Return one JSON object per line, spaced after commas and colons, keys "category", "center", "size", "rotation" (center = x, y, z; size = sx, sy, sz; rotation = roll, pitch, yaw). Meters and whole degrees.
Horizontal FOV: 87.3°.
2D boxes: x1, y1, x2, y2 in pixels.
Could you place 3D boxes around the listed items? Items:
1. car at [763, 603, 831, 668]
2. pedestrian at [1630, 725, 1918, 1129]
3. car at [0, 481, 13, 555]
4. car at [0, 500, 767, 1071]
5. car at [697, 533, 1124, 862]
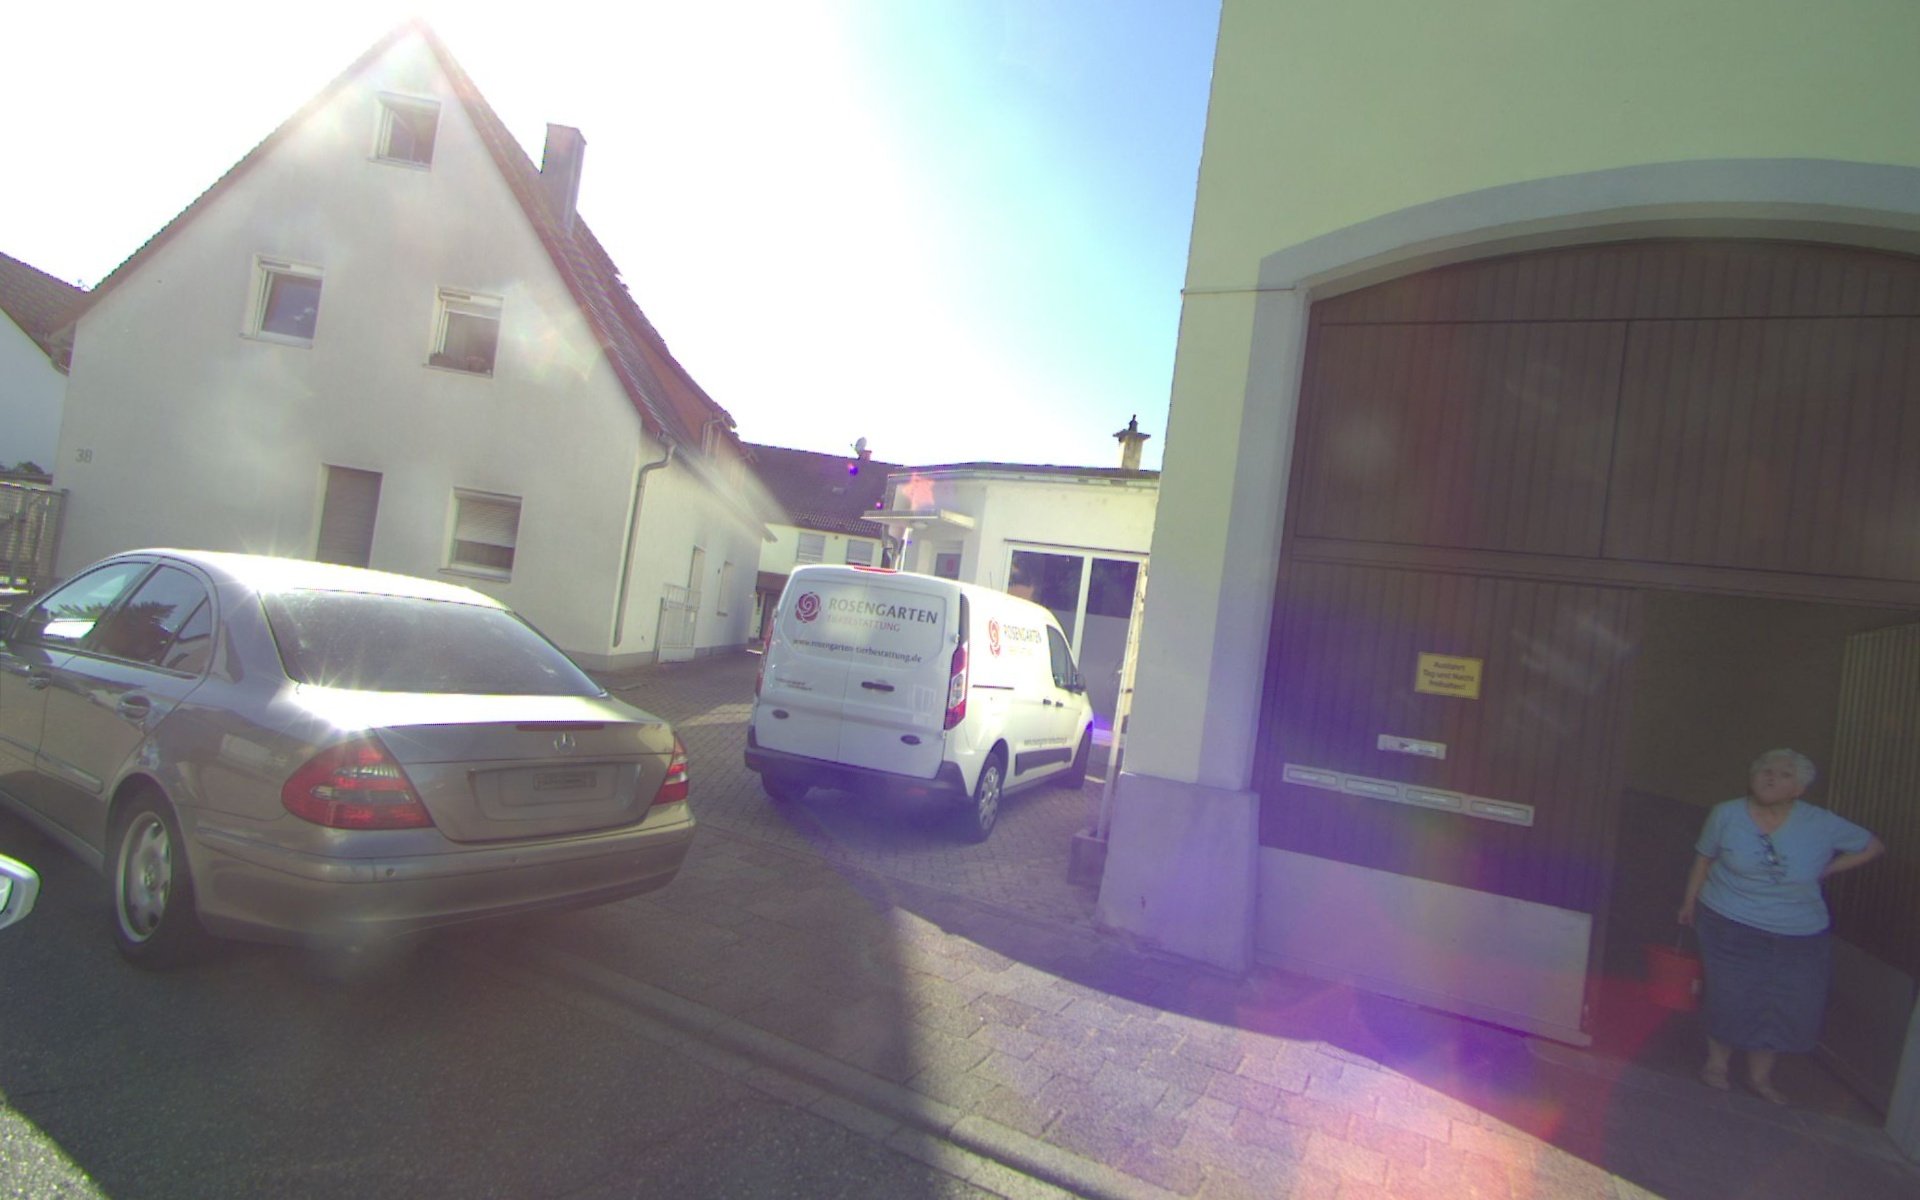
{"category": "car", "center": [-4.664, 1.024, 28.946], "size": [1.613, 1.523, 3.468], "rotation": [9, -3, -8]}
{"category": "pedestrian", "center": [3.694, 1.417, 4.633], "size": [0.756, 1.568, 0.566], "rotation": [8, -2, 23]}
{"category": "car", "center": [-23.355, -2.112, 21.662], "size": [1.877, 1.707, 4.051], "rotation": [9, -2, 0]}
{"category": "car", "center": [-3.351, 0.468, 4.877], "size": [4.582, 1.492, 1.815], "rotation": [7, -2, 32]}
{"category": "car", "center": [-0.040, 0.730, 8.948], "size": [1.873, 1.909, 4.778], "rotation": [8, 0, 20]}
